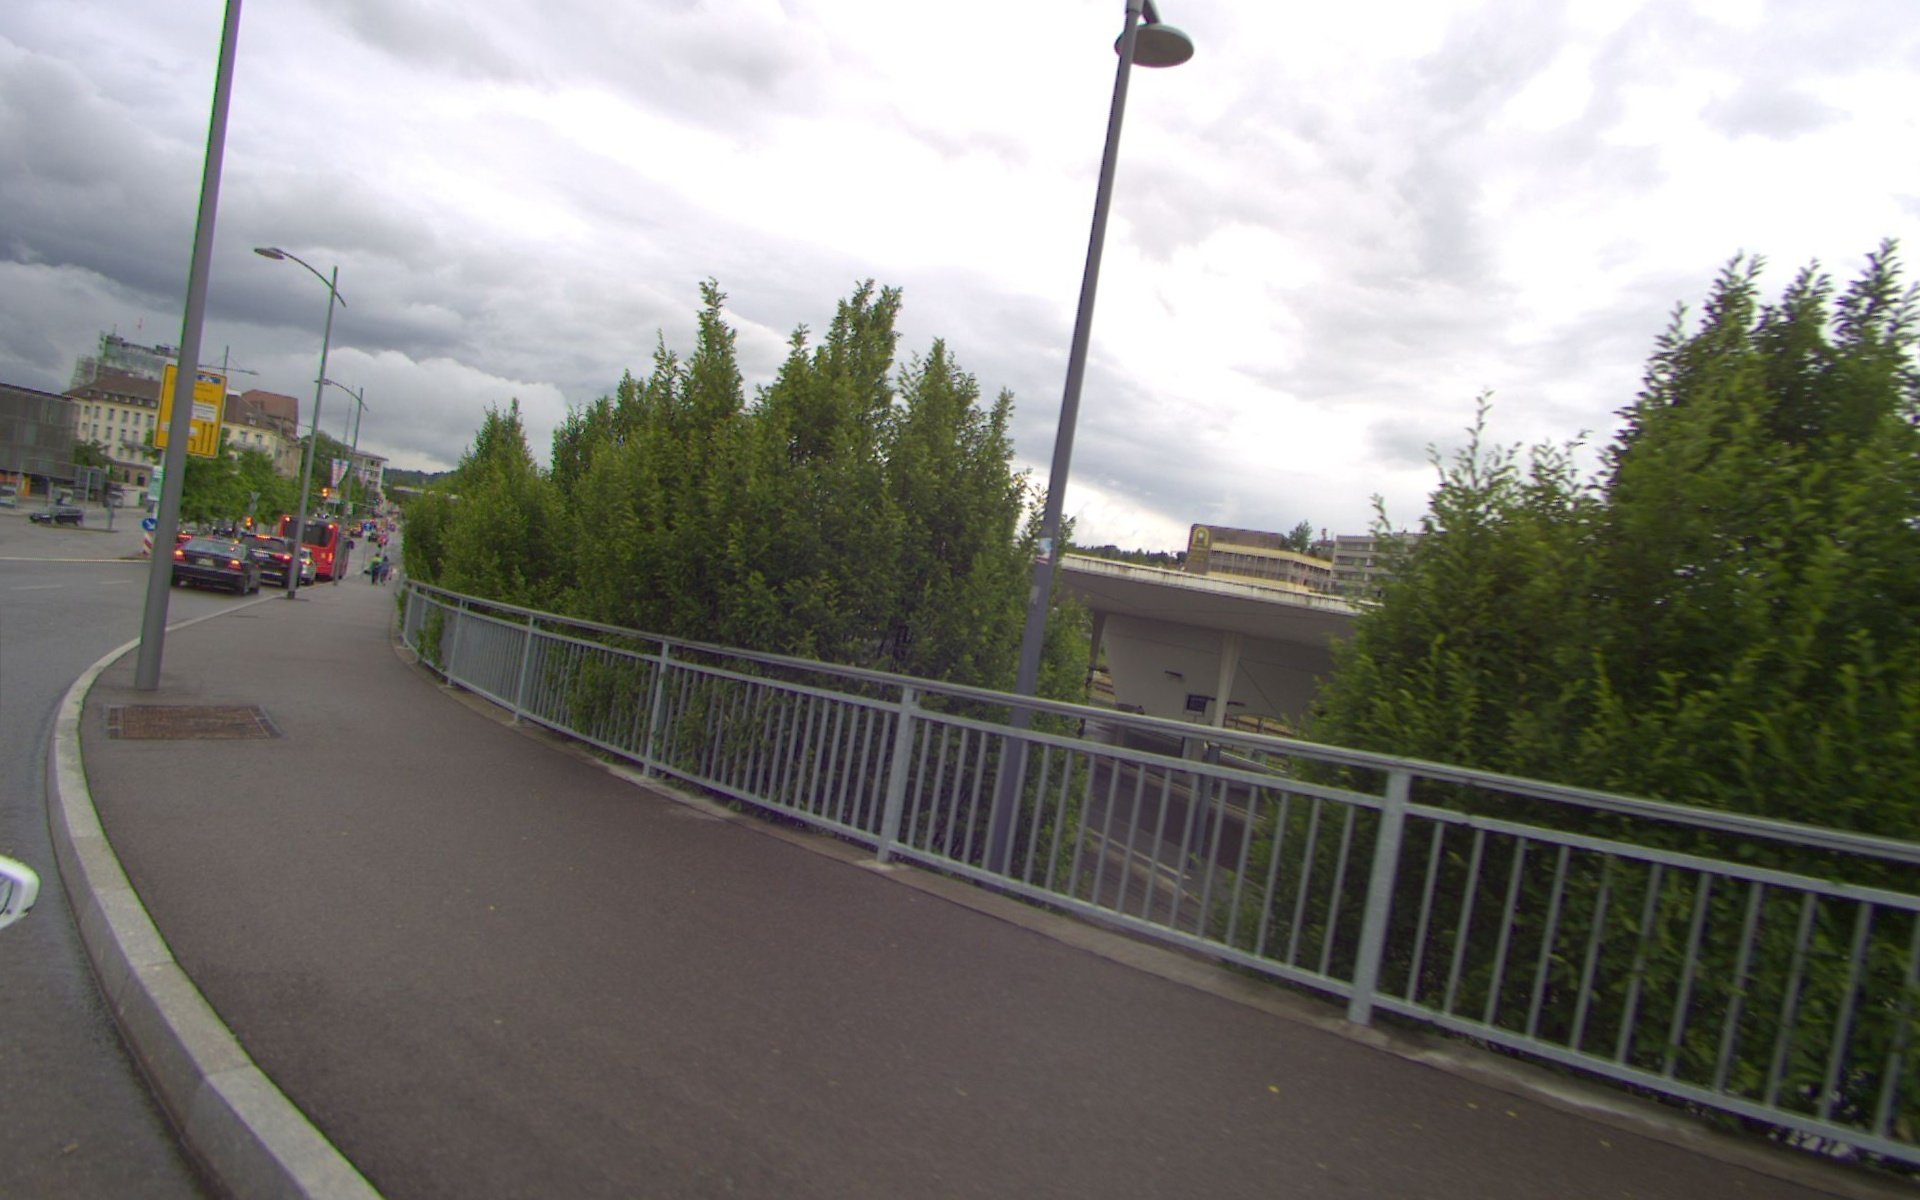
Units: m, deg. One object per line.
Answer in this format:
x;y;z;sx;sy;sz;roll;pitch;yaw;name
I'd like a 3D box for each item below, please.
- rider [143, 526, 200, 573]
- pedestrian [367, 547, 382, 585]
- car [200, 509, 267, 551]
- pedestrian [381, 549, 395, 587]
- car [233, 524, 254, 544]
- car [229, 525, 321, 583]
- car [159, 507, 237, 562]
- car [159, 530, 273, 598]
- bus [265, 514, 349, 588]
-28.607;-1.800;36.551;0.873;1.487;2.185;10;-3;-23;rider
-32.350;-1.875;55.595;0.485;2.036;0.467;8;-3;-27;pedestrian
-32.602;-3.087;45.244;1.748;1.452;3.971;11;-3;-29;car
-31.821;-1.773;55.930;0.420;2.036;0.480;8;-3;-27;pedestrian
-90.259;-8.304;126.698;1.983;2.036;4.163;9;-3;-36;car
-25.306;-1.651;37.325;1.810;1.705;3.981;10;-3;-22;car
-34.860;-2.951;46.131;1.979;2.028;3.972;10;-3;-28;car
-20.374;-0.981;27.707;1.693;1.435;3.702;11;-3;-26;car
-35.842;-2.635;55.583;2.808;3.224;10.234;10;-3;-29;bus
